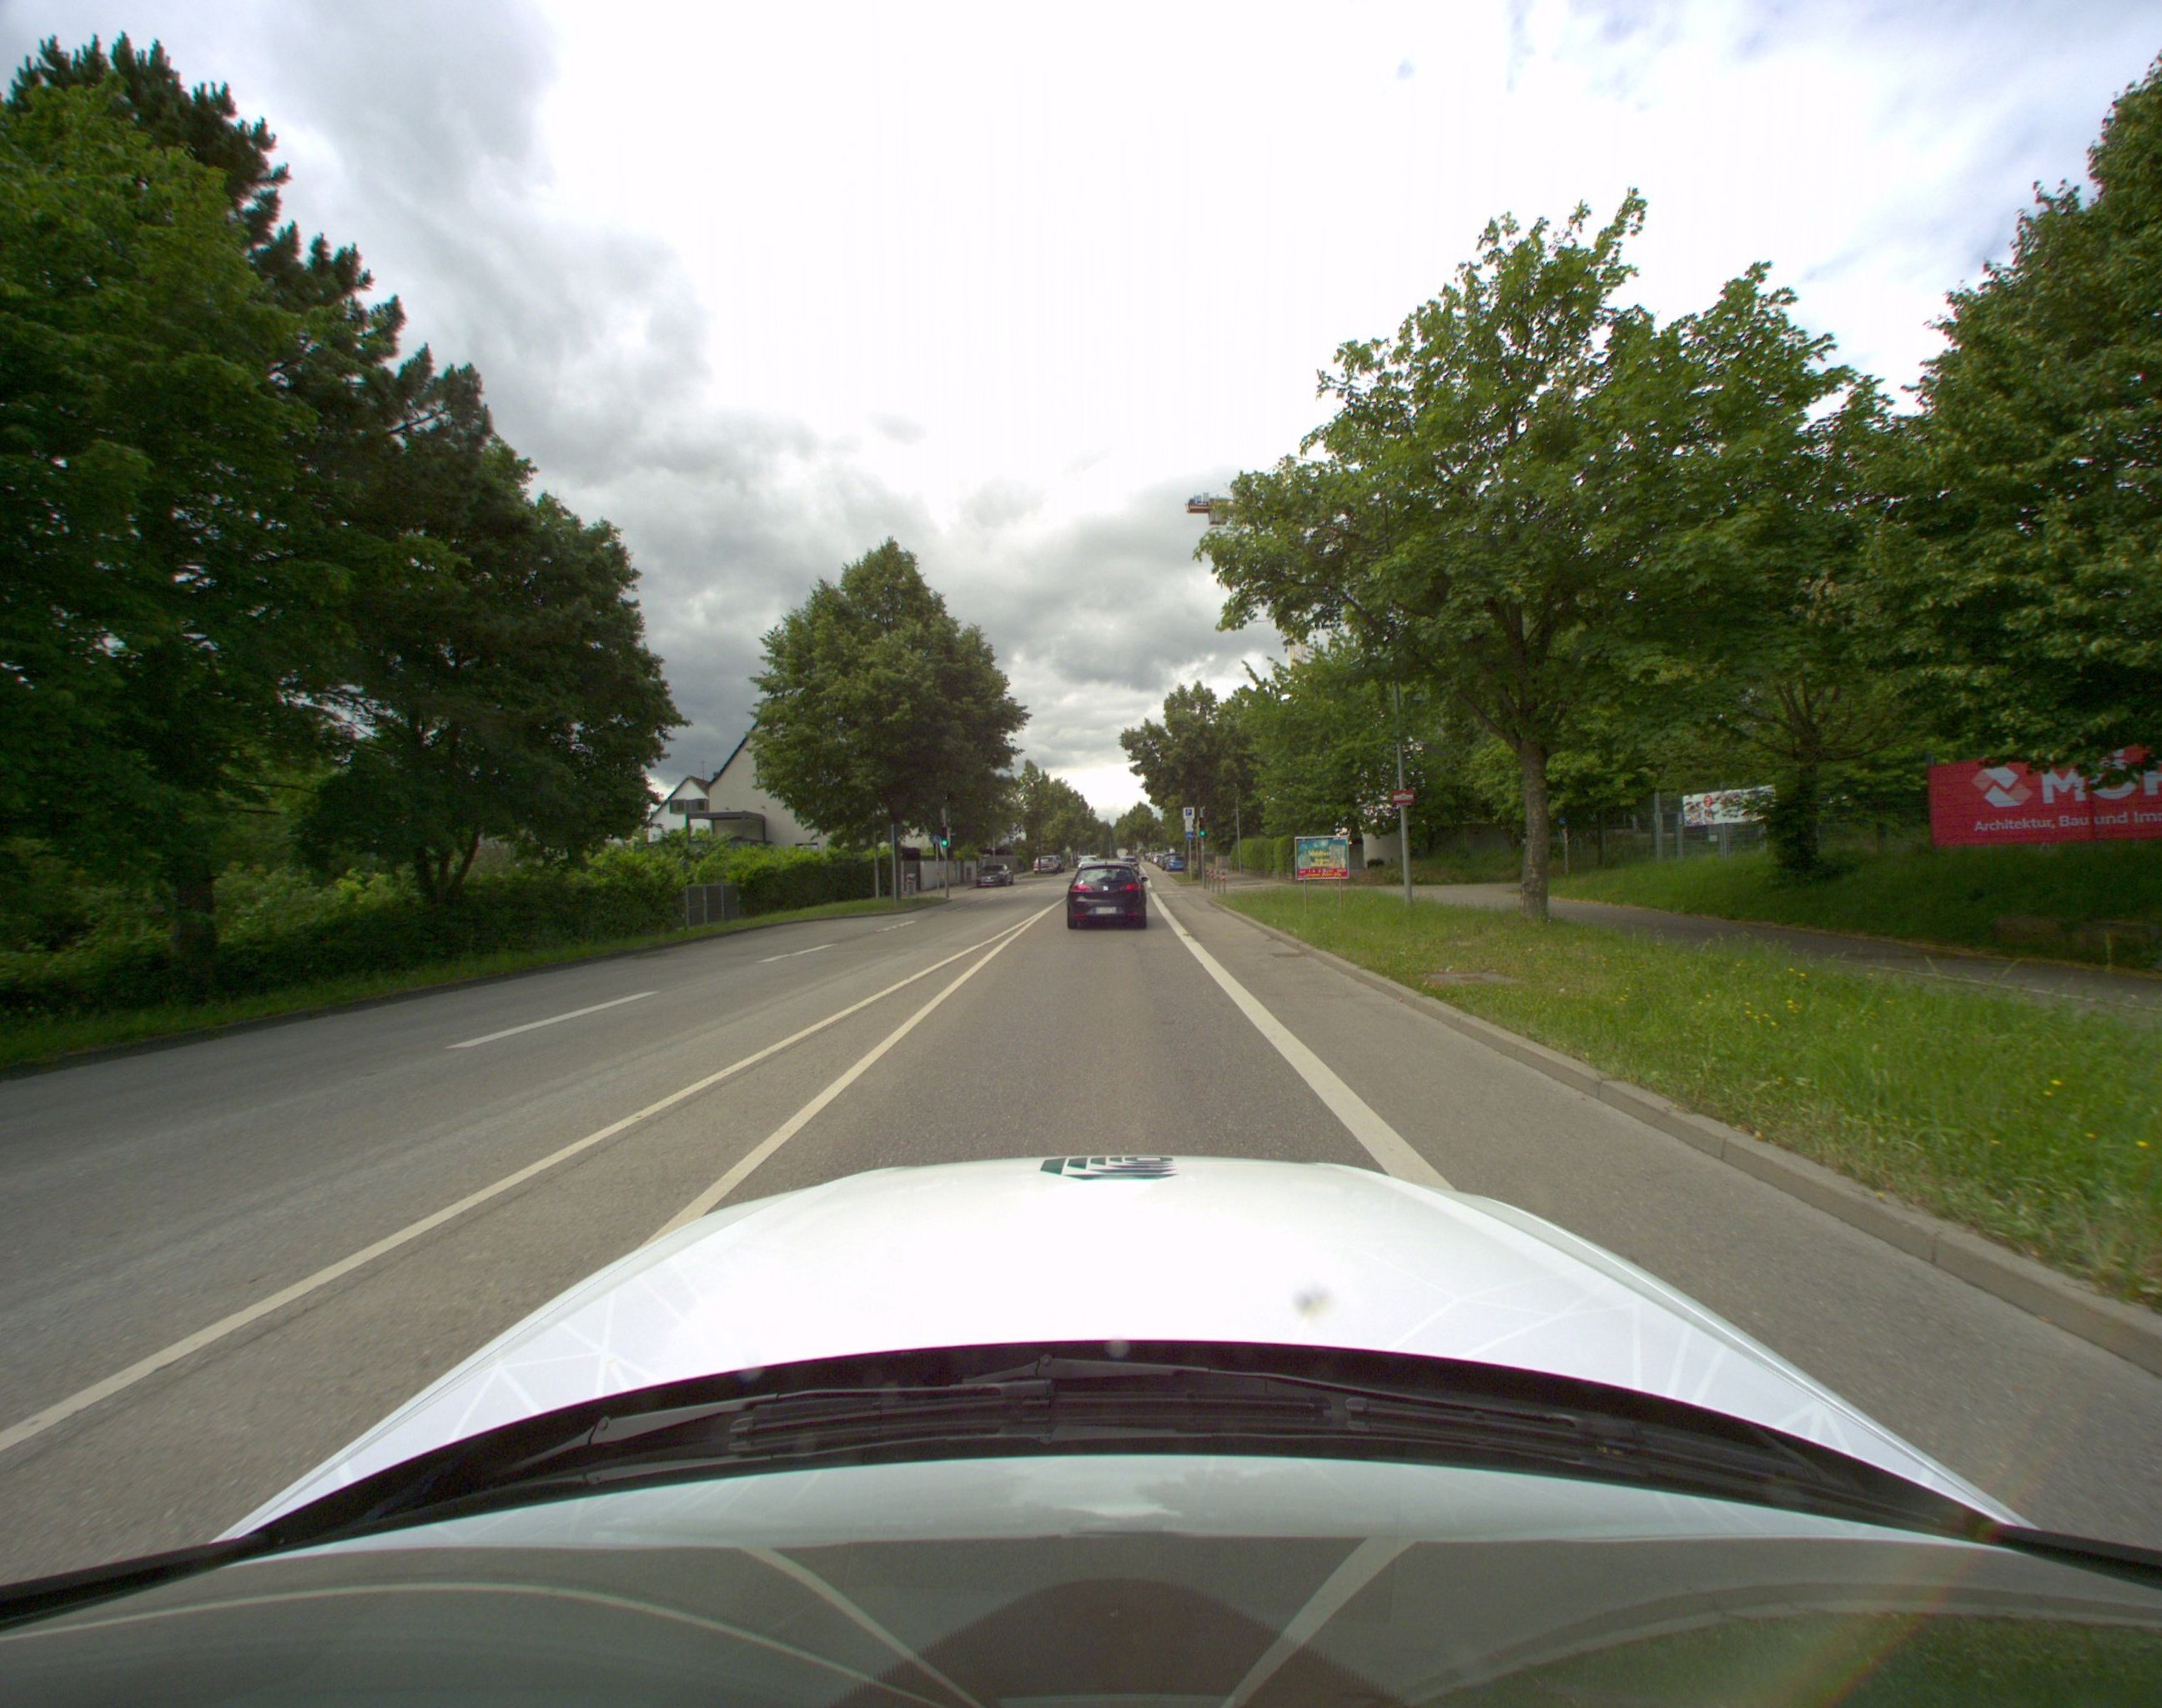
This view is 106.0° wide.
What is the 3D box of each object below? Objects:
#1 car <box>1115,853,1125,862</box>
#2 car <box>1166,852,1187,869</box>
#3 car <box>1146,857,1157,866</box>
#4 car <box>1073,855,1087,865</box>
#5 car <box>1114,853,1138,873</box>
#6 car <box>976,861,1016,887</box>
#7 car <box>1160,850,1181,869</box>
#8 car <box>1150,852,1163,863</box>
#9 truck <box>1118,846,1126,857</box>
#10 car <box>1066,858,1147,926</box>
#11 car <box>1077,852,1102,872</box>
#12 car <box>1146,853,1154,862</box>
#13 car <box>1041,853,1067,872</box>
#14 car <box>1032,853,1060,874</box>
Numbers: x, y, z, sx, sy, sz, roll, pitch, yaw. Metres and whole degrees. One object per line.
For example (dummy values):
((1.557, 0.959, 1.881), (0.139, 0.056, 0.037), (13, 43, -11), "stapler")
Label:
((7.880, 0.626, 165.220), (1.873, 1.689, 4.217), (-2, 0, 3), "car")
((8.693, 0.602, 74.278), (1.681, 1.490, 3.357), (-2, 0, 3), "car")
((12.769, 1.316, 147.307), (1.681, 1.564, 4.217), (-2, 0, 3), "car")
((-0.140, 0.976, 137.641), (2.091, 1.506, 5.788), (-4, 0, 3), "car")
((3.565, 0.722, 64.180), (1.838, 1.510, 3.815), (-1, 0, 4), "car")
((-5.280, 1.242, 51.229), (1.711, 1.395, 4.805), (-4, 0, 3), "car")
((8.729, 0.540, 79.564), (1.681, 1.711, 4.217), (-2, 0, 3), "car")
((11.345, 0.559, 122.790), (1.681, 1.564, 4.217), (-2, 0, 3), "car")
((11.515, -0.712, 229.123), (2.270, 3.104, 8.515), (0, 0, 2), "truck")
((0.582, 0.796, 18.731), (1.656, 1.401, 3.813), (0, 0, 2), "car")
((0.790, 0.707, 74.743), (1.866, 1.635, 4.346), (-4, 0, 5), "car")
((16.018, 0.844, 190.329), (1.681, 1.875, 4.217), (-2, 0, 3), "car")
((-2.875, 0.871, 87.897), (2.091, 1.896, 5.788), (-4, 0, 3), "car")
((-3.390, 0.884, 80.290), (2.091, 1.896, 5.788), (-4, 0, 3), "car")
